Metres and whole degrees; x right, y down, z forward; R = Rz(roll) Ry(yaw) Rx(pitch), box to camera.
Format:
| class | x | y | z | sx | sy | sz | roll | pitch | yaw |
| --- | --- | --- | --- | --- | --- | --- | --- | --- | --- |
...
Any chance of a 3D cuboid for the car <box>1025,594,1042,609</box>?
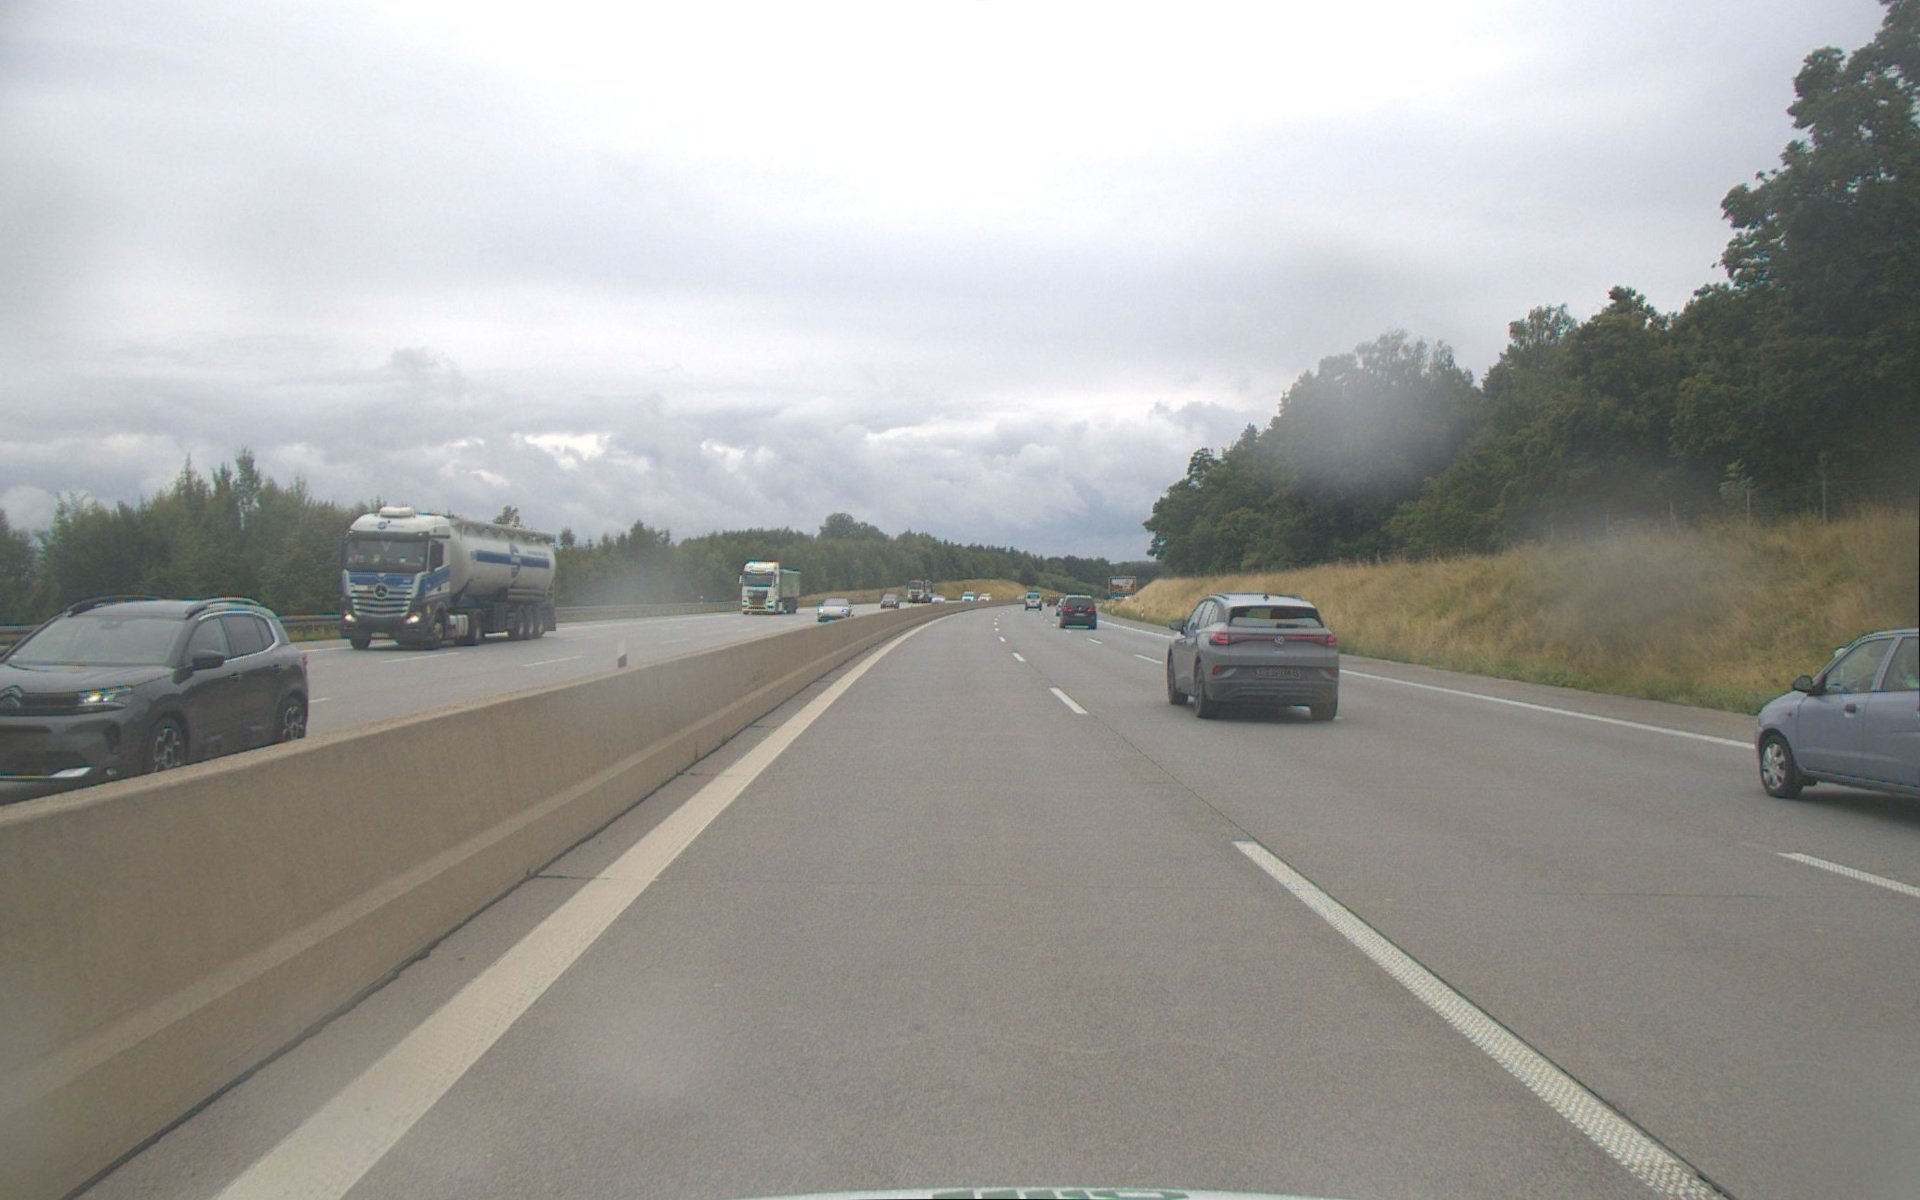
| class | x | y | z | sx | sy | sz | roll | pitch | yaw |
| --- | --- | --- | --- | --- | --- | --- | --- | --- | --- |
| car | 8.343 | 0.198 | 187.647 | 1.802 | 1.526 | 4.003 | -2 | 1 | 5 |

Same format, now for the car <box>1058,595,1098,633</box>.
| class | x | y | z | sx | sy | sz | roll | pitch | yaw |
| --- | --- | --- | --- | --- | --- | --- | --- | --- | --- |
| car | 6.092 | 0.699 | 85.864 | 1.748 | 1.777 | 3.916 | -2 | 1 | 1 |

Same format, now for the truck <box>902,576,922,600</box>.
| class | x | y | z | sx | sy | sz | roll | pitch | yaw |
| --- | --- | --- | --- | --- | --- | --- | --- | --- | --- |
| truck | -7.295 | -1.866 | 254.355 | 2.532 | 3.716 | 7.663 | 0 | 0 | 2 |

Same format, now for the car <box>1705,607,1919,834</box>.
| class | x | y | z | sx | sy | sz | roll | pitch | yaw |
| --- | --- | --- | --- | --- | --- | --- | --- | --- | --- |
| car | 7.454 | 0.858 | 13.152 | 1.455 | 1.496 | 3.504 | 0 | 1 | 0 |

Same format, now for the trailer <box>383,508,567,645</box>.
| class | x | y | z | sx | sy | sz | roll | pitch | yaw |
| --- | --- | --- | --- | --- | --- | --- | --- | --- | --- |
| trailer | -15.971 | -0.715 | 55.618 | 2.702 | 4.068 | 12.287 | 1 | 0 | -1 |

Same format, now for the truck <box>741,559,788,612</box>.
| class | x | y | z | sx | sy | sz | roll | pitch | yaw |
| --- | --- | --- | --- | --- | --- | --- | --- | --- | --- |
| truck | -14.680 | -1.020 | 124.609 | 2.693 | 3.869 | 5.531 | 1 | 0 | 1 |

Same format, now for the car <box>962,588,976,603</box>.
| class | x | y | z | sx | sy | sz | roll | pitch | yaw |
| --- | --- | --- | --- | --- | --- | --- | --- | --- | --- |
| car | 1.318 | -0.692 | 250.100 | 1.952 | 2.048 | 5.527 | 2 | 1 | 2 |

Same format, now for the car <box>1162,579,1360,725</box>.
| class | x | y | z | sx | sy | sz | roll | pitch | yaw |
| --- | --- | --- | --- | --- | --- | --- | --- | --- | --- |
| car | 4.020 | 0.607 | 22.967 | 1.859 | 1.719 | 5.267 | 1 | 1 | 1 |

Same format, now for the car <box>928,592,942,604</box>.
| class | x | y | z | sx | sy | sz | roll | pitch | yaw |
| --- | --- | --- | --- | --- | --- | --- | --- | --- | --- |
| car | -3.586 | -0.287 | 238.977 | 1.700 | 1.391 | 4.099 | 4 | 2 | 3 |

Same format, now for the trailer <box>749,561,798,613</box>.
| class | x | y | z | sx | sy | sz | roll | pitch | yaw |
| --- | --- | --- | --- | --- | --- | --- | --- | --- | --- |
| trailer | -14.593 | -1.014 | 130.212 | 2.693 | 3.866 | 9.316 | 1 | 0 | 0 |

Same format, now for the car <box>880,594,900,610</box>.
| class | x | y | z | sx | sy | sz | roll | pitch | yaw |
| --- | --- | --- | --- | --- | --- | --- | --- | --- | --- |
| car | -7.726 | 0.210 | 182.144 | 1.952 | 1.617 | 4.772 | 1 | 0 | 1 |

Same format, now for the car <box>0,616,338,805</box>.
| class | x | y | z | sx | sy | sz | roll | pitch | yaw |
| --- | --- | --- | --- | --- | --- | --- | --- | --- | --- |
| car | -7.429 | 0.902 | 15.354 | 1.756 | 1.442 | 4.341 | 0 | 0 | -1 |

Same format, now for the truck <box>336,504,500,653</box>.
| class | x | y | z | sx | sy | sz | roll | pitch | yaw |
| --- | --- | --- | --- | --- | --- | --- | --- | --- | --- |
| truck | -15.861 | -0.675 | 48.964 | 2.691 | 4.068 | 6.928 | 1 | 1 | -2 |

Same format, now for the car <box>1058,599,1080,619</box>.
| class | x | y | z | sx | sy | sz | roll | pitch | yaw |
| --- | --- | --- | --- | --- | --- | --- | --- | --- | --- |
| car | 9.253 | 0.740 | 140.367 | 1.763 | 1.490 | 3.813 | 1 | 2 | 4 |

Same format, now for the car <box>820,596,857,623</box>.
| class | x | y | z | sx | sy | sz | roll | pitch | yaw |
| --- | --- | --- | --- | --- | --- | --- | --- | --- | --- |
| car | -7.560 | 0.584 | 102.941 | 1.953 | 1.466 | 4.767 | 2 | 1 | -1 |
